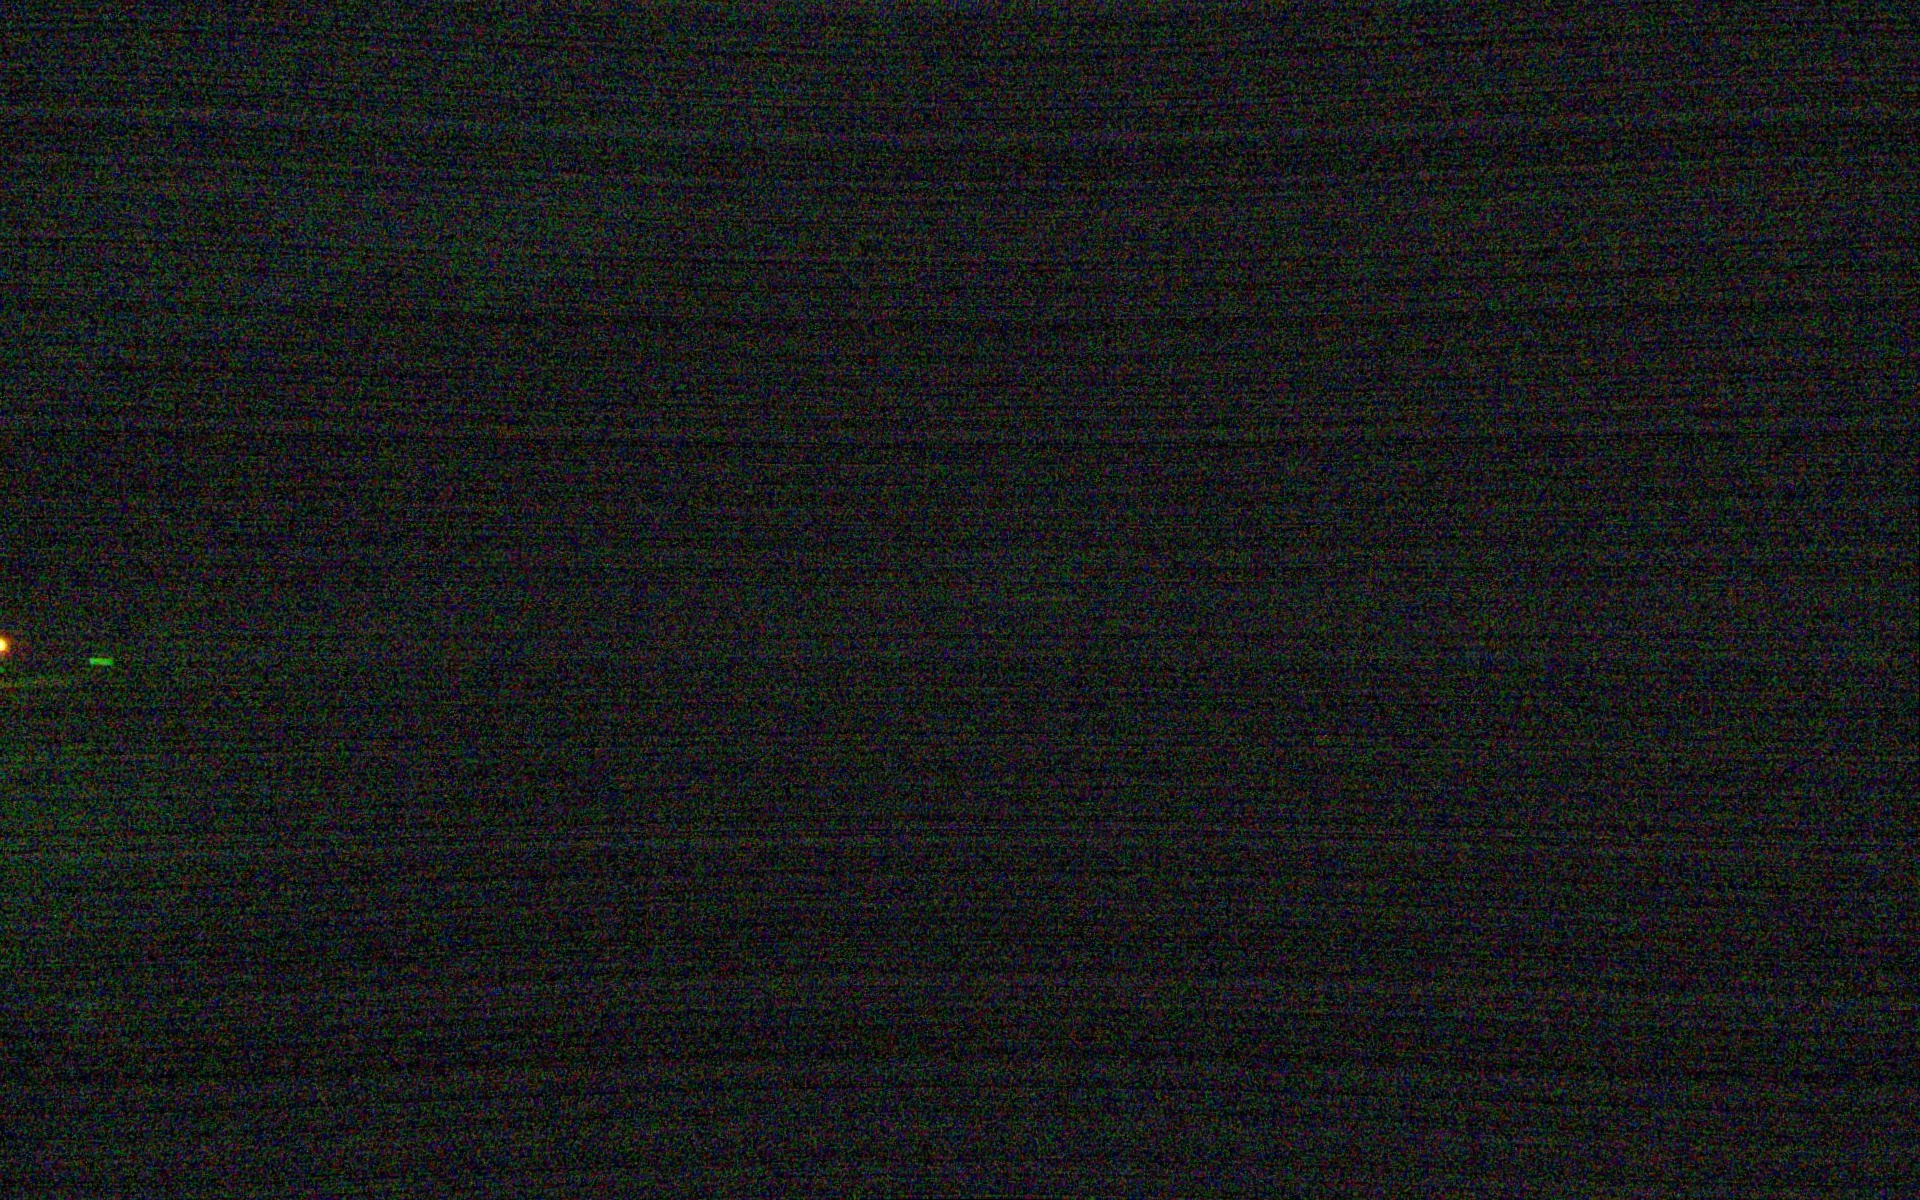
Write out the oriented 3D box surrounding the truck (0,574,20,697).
[{"bbox_3d":[-24.726,0.729,23.453,7.200,2.725,2.074,1,-1,31],"label":"truck"}]
